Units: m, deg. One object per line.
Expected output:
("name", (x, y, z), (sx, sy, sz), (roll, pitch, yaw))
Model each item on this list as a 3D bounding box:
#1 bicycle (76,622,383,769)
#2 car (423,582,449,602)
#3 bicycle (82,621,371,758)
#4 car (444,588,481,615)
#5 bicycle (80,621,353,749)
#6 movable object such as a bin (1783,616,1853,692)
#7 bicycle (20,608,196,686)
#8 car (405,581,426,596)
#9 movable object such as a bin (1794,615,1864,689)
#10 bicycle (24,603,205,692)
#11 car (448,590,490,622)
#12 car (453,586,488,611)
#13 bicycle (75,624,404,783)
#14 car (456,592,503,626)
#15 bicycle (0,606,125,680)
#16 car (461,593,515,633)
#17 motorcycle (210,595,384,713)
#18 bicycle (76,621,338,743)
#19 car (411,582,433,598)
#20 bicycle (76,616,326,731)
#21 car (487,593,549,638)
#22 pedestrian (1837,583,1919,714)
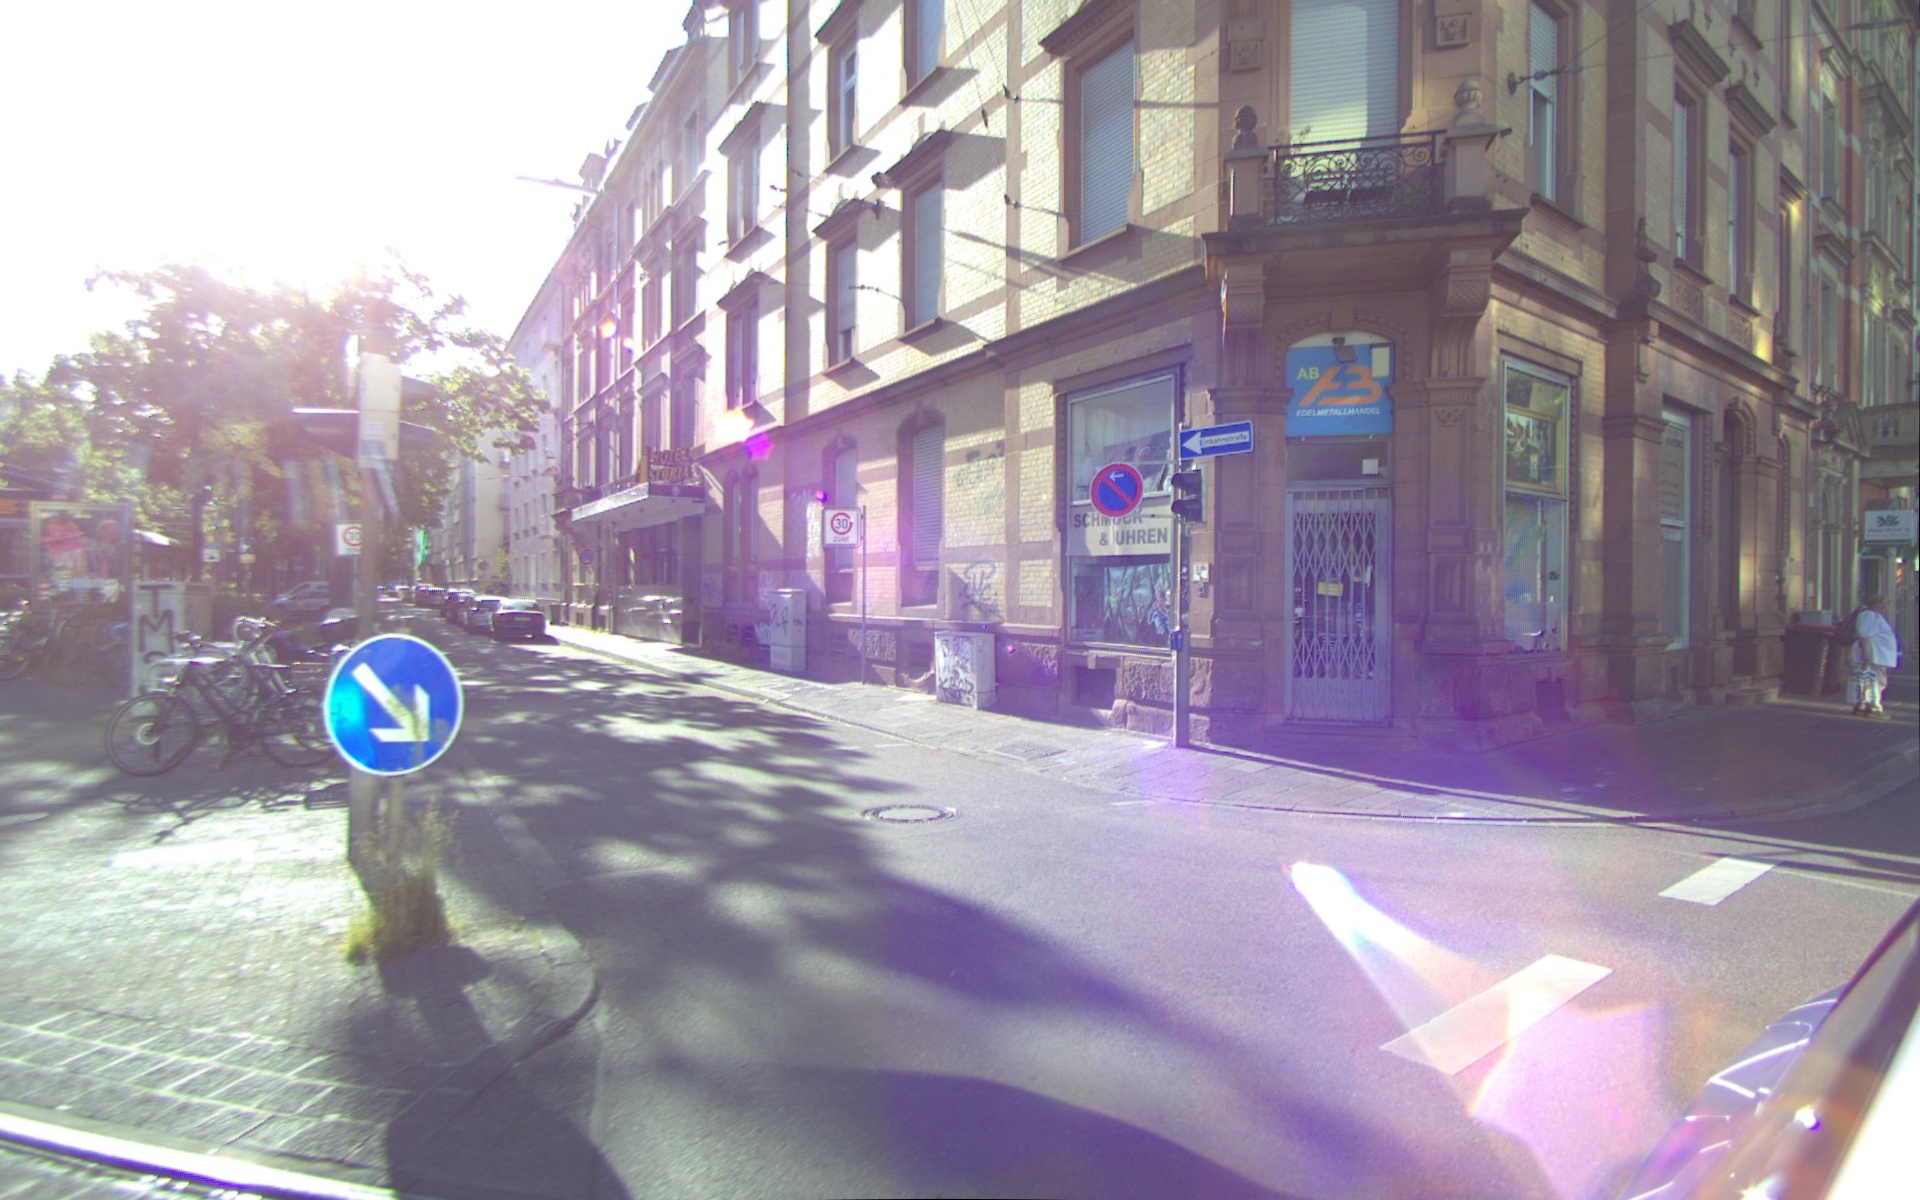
("bicycle", (-6.872, 0.842, 9.625), (2.271, 1.225, 0.752), (2, -1, -41))
("car", (-40.483, -0.631, 78.153), (1.710, 1.438, 3.773), (0, 1, -28))
("bicycle", (-7.348, 0.860, 10.245), (2.270, 1.225, 0.650), (3, -1, -41))
("car", (-27.400, 0.065, 55.671), (1.710, 1.438, 3.773), (0, 1, -28))
("bicycle", (-7.895, 0.869, 10.848), (2.270, 1.225, 0.650), (3, -1, -41))
("movable object such as a bin", (13.265, 0.819, 15.650), (0.535, 1.085, 0.665), (1, 2, -36))
("bicycle", (-13.474, 0.723, 16.073), (0.647, 1.143, 2.012), (1, -1, 37))
("car", (-51.778, -1.087, 96.234), (1.710, 1.438, 3.773), (0, 1, -28))
("movable object such as a bin", (13.727, 0.805, 15.990), (0.580, 1.085, 0.665), (1, 2, -36))
("bicycle", (-12.778, 0.680, 15.360), (0.647, 1.225, 2.013), (1, 1, 37))
("car", (-23.905, 0.261, 49.238), (1.710, 1.438, 3.773), (0, 1, -28))
("car", (-28.964, -0.121, 59.839), (1.710, 1.438, 3.773), (0, 1, -28))
("bicycle", (-6.328, 0.860, 9.006), (2.270, 1.225, 0.752), (3, -1, -41))
("car", (-21.464, 0.370, 45.151), (1.710, 1.438, 3.773), (0, 1, -28))
("bicycle", (-15.034, 0.686, 16.542), (0.644, 1.143, 2.021), (2, -1, 25))
("car", (-18.585, 0.461, 39.783), (1.710, 1.438, 3.773), (0, 1, -28))
("motorcycle", (-8.953, 0.708, 13.695), (1.917, 1.422, 0.861), (3, -1, 16))
("bicycle", (-8.387, 0.883, 11.369), (2.270, 1.225, 0.650), (3, -1, -41))
("car", (-49.014, -0.937, 92.170), (1.710, 1.438, 3.773), (0, 1, -28))
("bicycle", (-8.897, 0.837, 11.958), (2.270, 1.225, 0.650), (3, -1, -41))
("car", (-15.588, 0.513, 35.578), (1.710, 1.438, 4.006), (0, 1, -28))
("pedestrian", (11.845, 0.602, 13.067), (0.678, 1.628, 0.722), (1, 0, 34))
